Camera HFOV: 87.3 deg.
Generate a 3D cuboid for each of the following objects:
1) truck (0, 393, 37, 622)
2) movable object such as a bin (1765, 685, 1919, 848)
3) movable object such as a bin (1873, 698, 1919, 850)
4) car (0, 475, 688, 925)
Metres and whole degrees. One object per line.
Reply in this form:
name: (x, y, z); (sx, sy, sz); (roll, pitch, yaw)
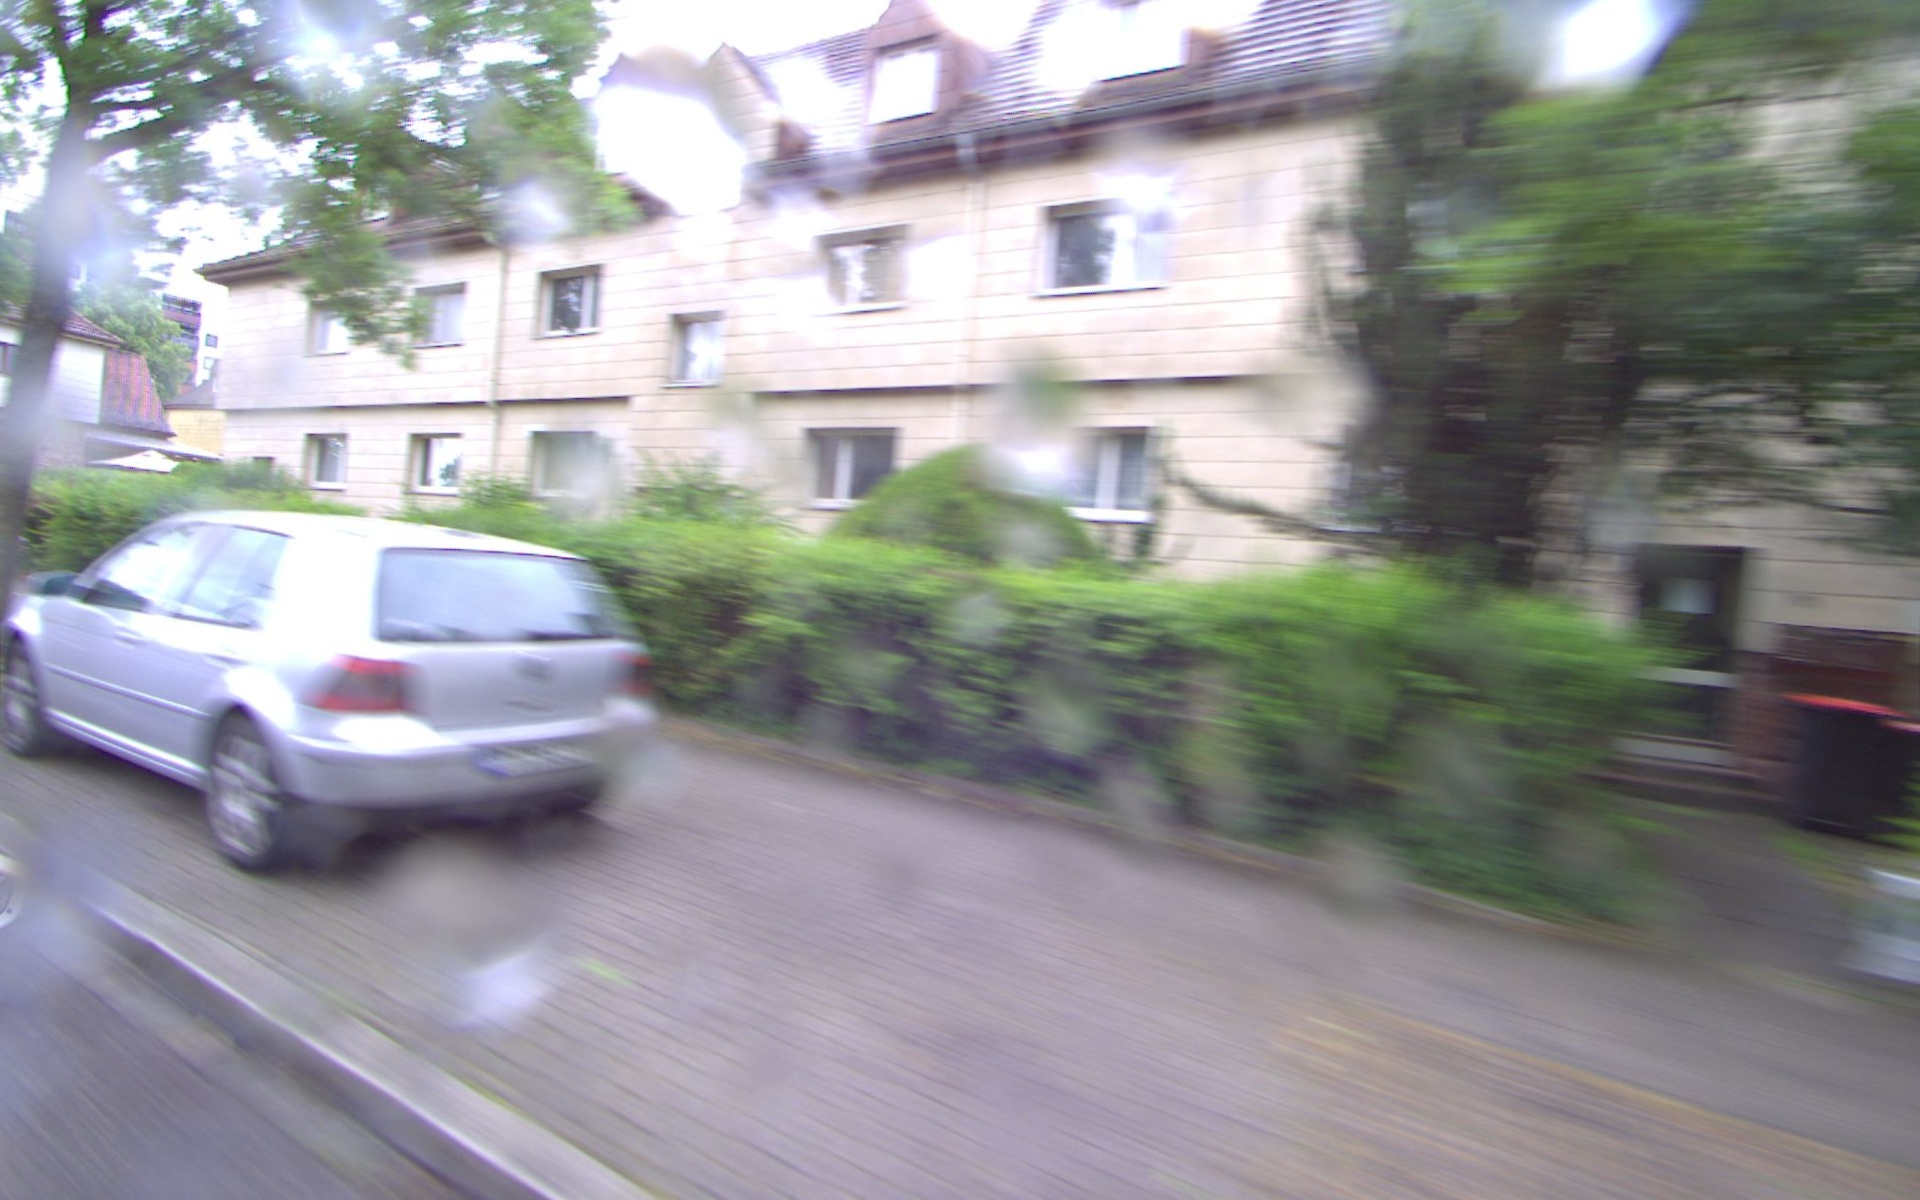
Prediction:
truck: (-12.596, -1.245, 10.852); (6.391, 2.252, 2.080); (7, 3, 30)
movable object such as a bin: (7.087, 1.299, 8.109); (0.690, 1.135, 0.789); (7, 1, 29)
movable object such as a bin: (7.716, 1.378, 7.780); (0.690, 1.135, 0.789); (7, 1, 29)
car: (-3.470, 0.239, 5.292); (3.954, 1.456, 1.601); (7, 4, 32)
